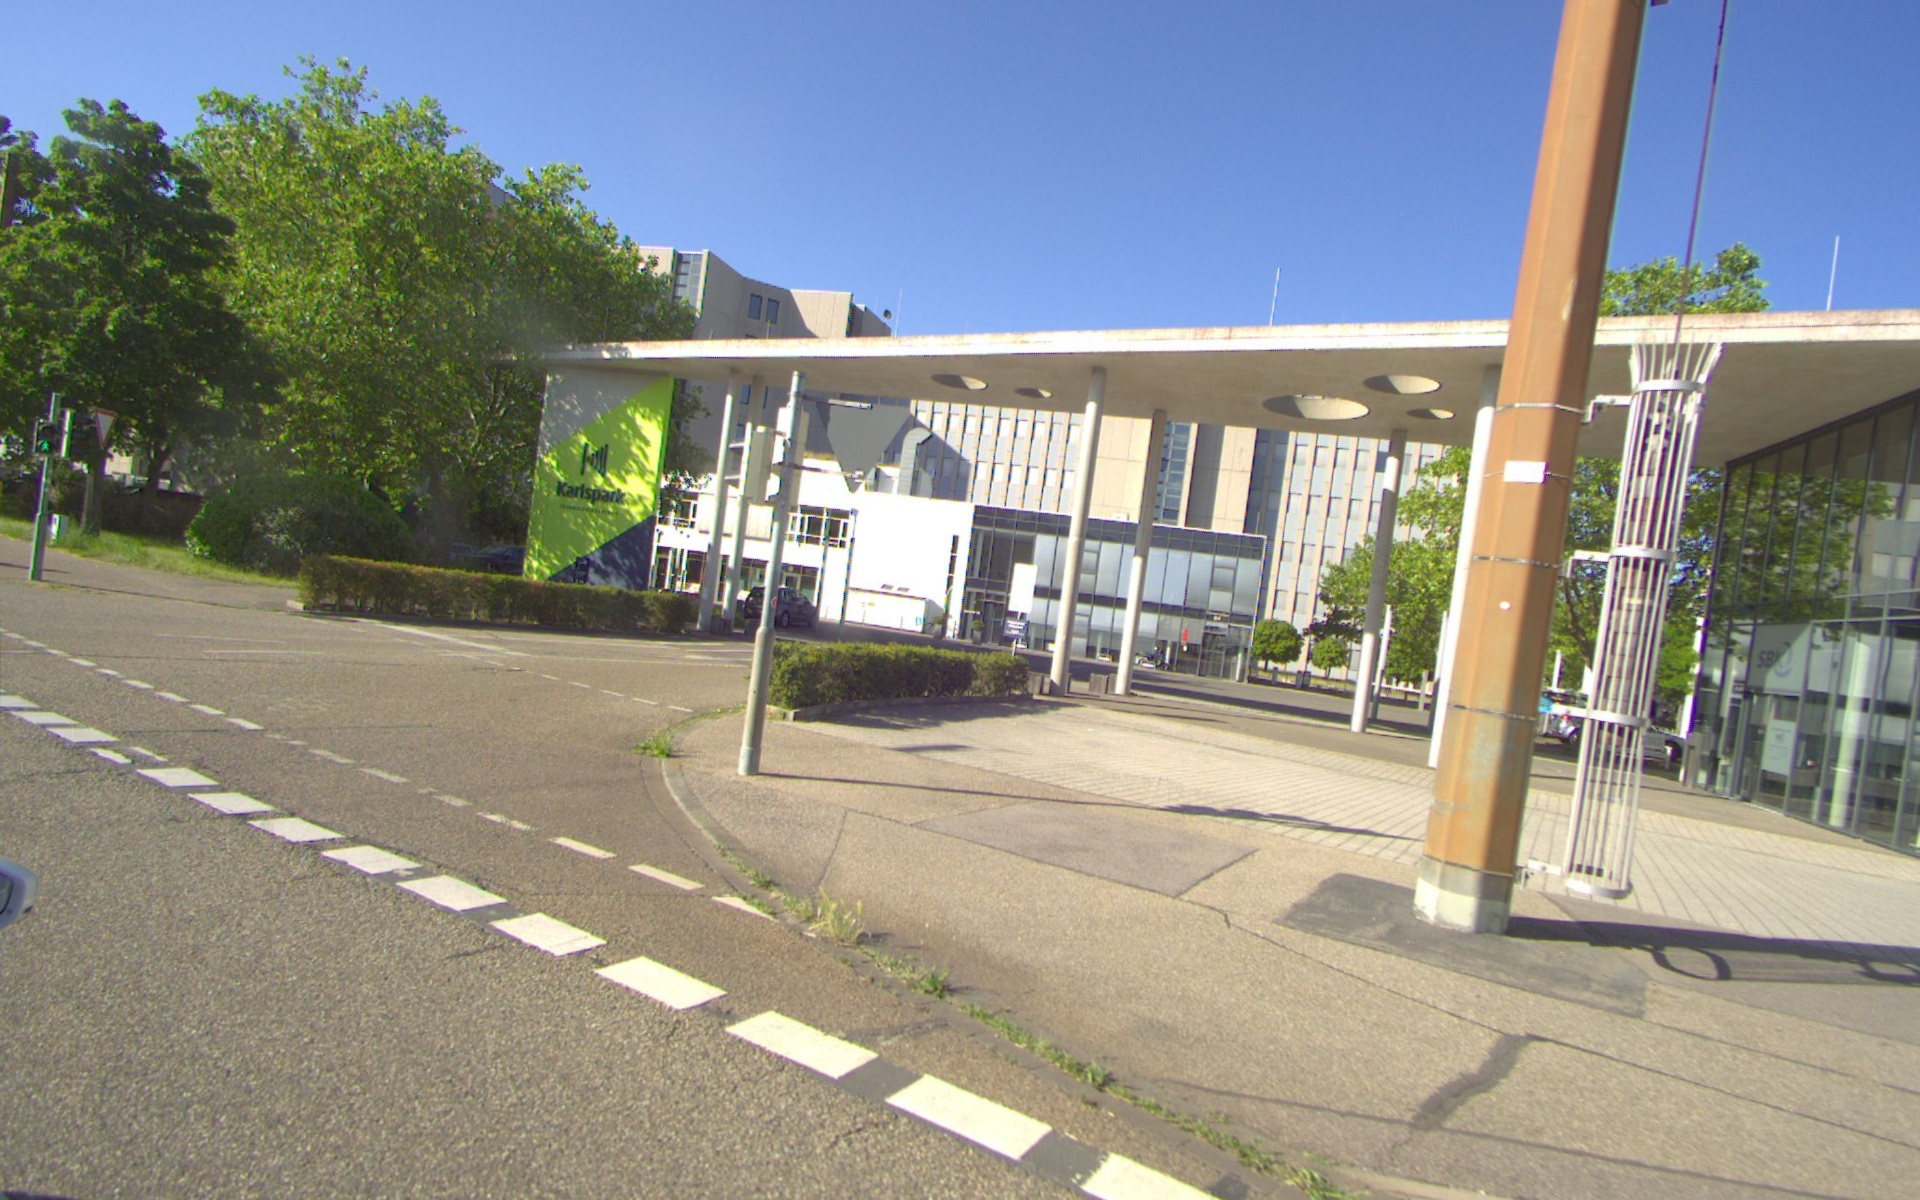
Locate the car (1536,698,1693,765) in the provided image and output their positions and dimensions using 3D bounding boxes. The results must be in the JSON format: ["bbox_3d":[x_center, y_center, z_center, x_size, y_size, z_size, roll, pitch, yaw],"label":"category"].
[{"bbox_3d":[21.872,4.365,33.774,3.924,1.462,1.779,7,0,15],"label":"car"}]

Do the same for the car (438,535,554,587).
[{"bbox_3d":[-20.942,-1.736,45.600,1.861,1.706,4.468,7,-1,26],"label":"car"}]

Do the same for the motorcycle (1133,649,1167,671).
[{"bbox_3d":[10.500,3.300,55.625,1.701,0.959,0.653,7,0,17],"label":"motorcycle"}]

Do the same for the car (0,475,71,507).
[{"bbox_3d":[-54.693,-6.463,57.969,4.626,1.343,2.079,8,0,-24],"label":"car"}]

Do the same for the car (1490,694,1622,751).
[{"bbox_3d":[23.102,4.742,39.153,3.924,1.462,1.779,7,0,15],"label":"car"}]

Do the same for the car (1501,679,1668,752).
[{"bbox_3d":[22.472,4.133,36.416,4.635,1.819,1.779,7,0,15],"label":"car"}]

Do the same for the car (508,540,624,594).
[{"bbox_3d":[-17.255,-1.401,44.378,2.052,1.778,4.900,7,-1,17],"label":"car"}]

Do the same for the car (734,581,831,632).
[{"bbox_3d":[-7.208,0.304,41.201,1.918,1.597,4.000,7,-1,23],"label":"car"}]
